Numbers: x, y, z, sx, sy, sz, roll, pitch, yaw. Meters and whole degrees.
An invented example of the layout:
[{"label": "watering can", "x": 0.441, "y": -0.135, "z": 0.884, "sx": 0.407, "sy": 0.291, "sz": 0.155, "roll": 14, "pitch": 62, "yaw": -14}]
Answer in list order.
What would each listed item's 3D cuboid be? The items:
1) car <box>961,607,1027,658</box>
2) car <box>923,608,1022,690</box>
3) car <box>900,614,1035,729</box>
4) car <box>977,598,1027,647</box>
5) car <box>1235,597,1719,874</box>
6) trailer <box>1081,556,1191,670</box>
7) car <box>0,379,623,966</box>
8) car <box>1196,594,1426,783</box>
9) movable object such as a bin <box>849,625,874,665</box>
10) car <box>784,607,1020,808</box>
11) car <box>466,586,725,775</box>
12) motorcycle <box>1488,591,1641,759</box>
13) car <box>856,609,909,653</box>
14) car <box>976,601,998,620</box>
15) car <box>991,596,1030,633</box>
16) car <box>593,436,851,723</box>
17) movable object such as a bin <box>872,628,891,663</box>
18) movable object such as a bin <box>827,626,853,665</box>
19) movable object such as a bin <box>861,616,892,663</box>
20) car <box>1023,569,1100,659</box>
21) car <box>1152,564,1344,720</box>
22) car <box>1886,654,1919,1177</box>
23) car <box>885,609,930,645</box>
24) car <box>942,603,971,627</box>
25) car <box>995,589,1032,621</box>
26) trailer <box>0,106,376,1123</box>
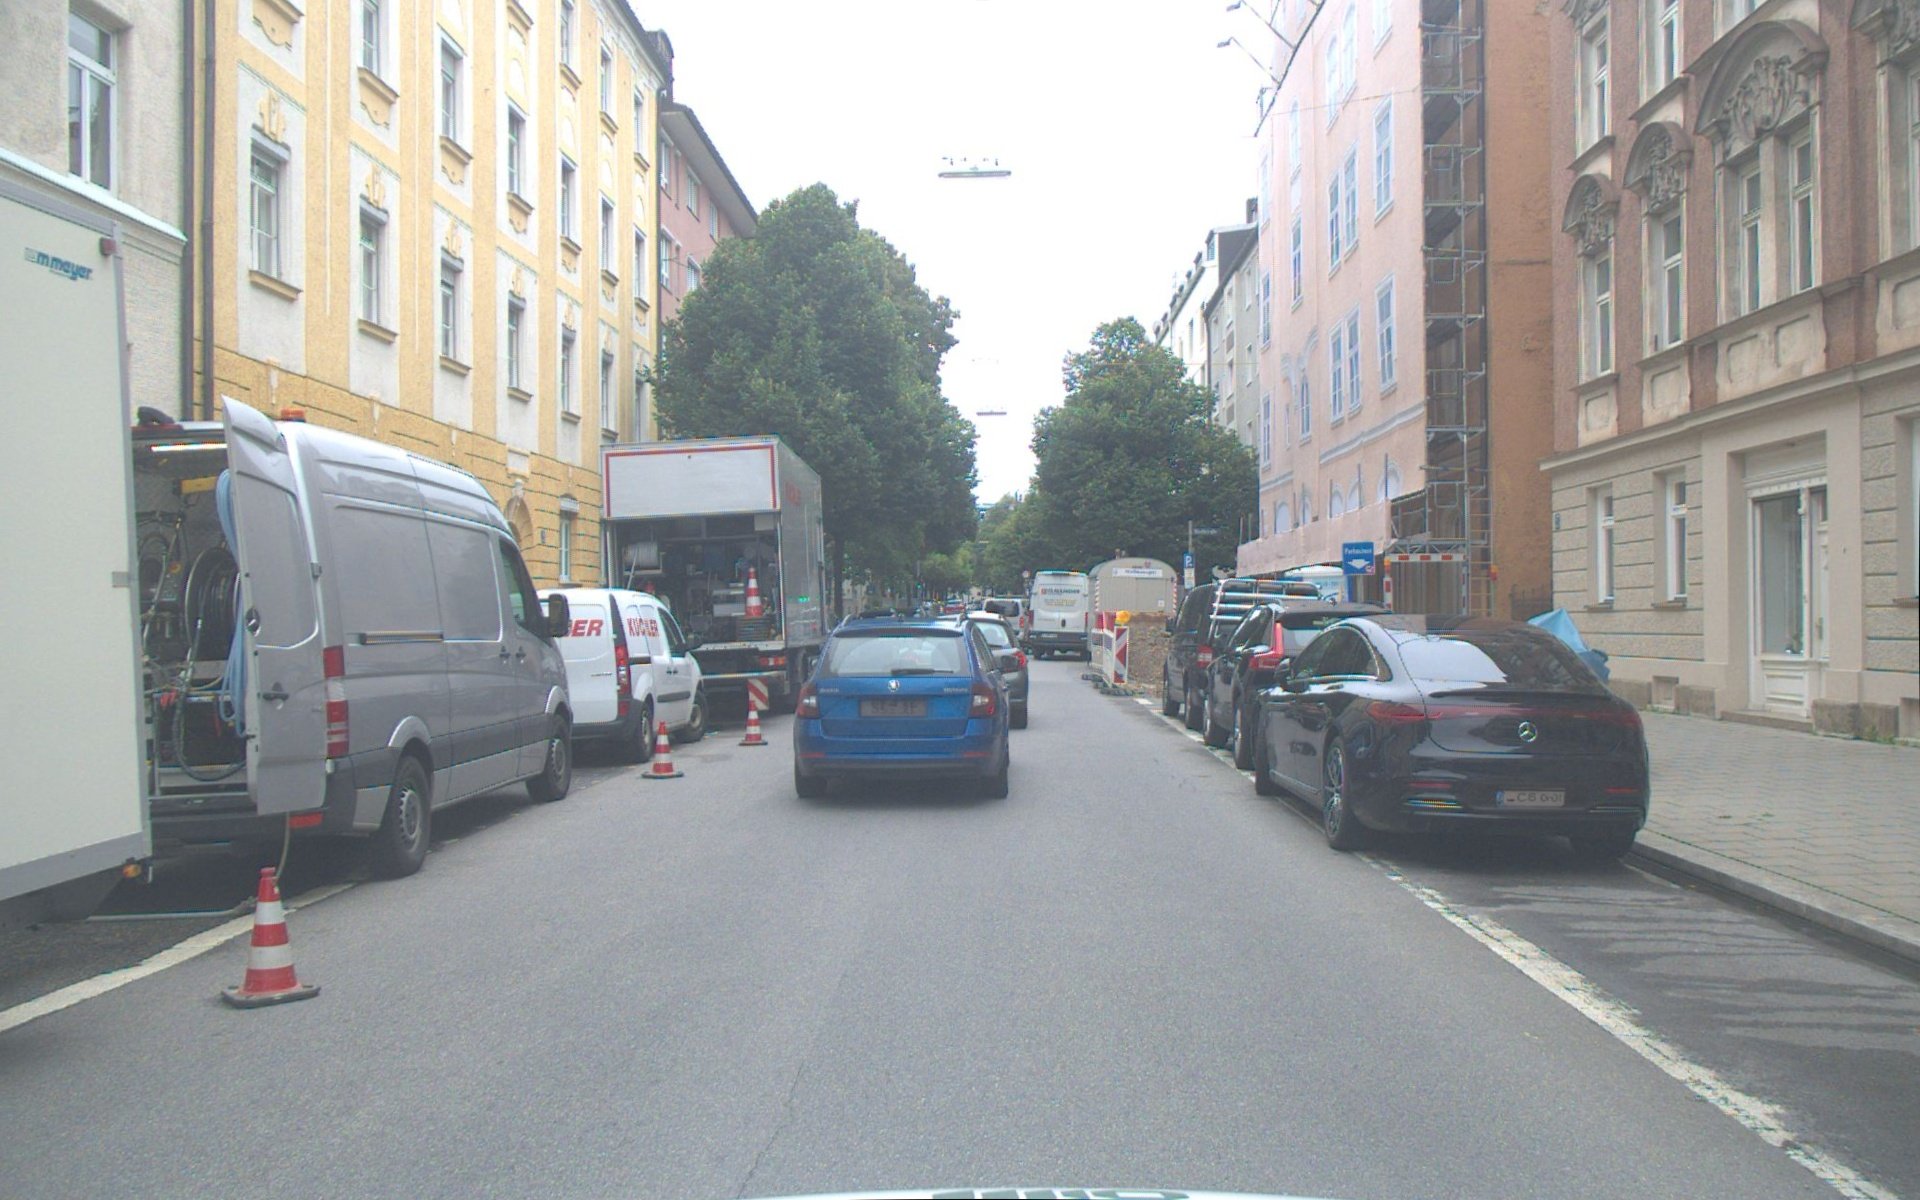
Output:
[{"label": "car", "x": 1.001, "y": 0.917, "z": 48.378, "sx": 1.829, "sy": 1.372, "sz": 4.348, "roll": 1, "pitch": 0, "yaw": 1}, {"label": "car", "x": 0.253, "y": 0.924, "z": 33.216, "sx": 1.829, "sy": 1.479, "sz": 4.347, "roll": 1, "pitch": 0, "yaw": 0}, {"label": "car", "x": 0.168, "y": 0.923, "z": 22.762, "sx": 1.705, "sy": 1.447, "sz": 3.665, "roll": 0, "pitch": -1, "yaw": 2}, {"label": "car", "x": 1.732, "y": 0.877, "z": 67.166, "sx": 1.828, "sy": 1.902, "sz": 4.349, "roll": 1, "pitch": 0, "yaw": 4}, {"label": "car", "x": 3.435, "y": 0.793, "z": 12.307, "sx": 1.891, "sy": 1.580, "sz": 5.637, "roll": 0, "pitch": 0, "yaw": 0}, {"label": "trailer", "x": 4.766, "y": 0.381, "z": 45.872, "sx": 2.450, "sy": 2.890, "sz": 6.902, "roll": 1, "pitch": -1, "yaw": 1}, {"label": "car", "x": -4.137, "y": 0.384, "z": 11.162, "sx": 2.014, "sy": 2.632, "sz": 6.877, "roll": -4, "pitch": 0, "yaw": 1}, {"label": "car", "x": 3.631, "y": 0.865, "z": 17.828, "sx": 1.658, "sy": 1.706, "sz": 4.409, "roll": 3, "pitch": -1, "yaw": 2}, {"label": "movable object such as a bin", "x": -3.036, "y": 1.382, "z": 50.978, "sx": 0.697, "sy": 1.168, "sz": 0.636, "roll": -2, "pitch": 0, "yaw": -2}, {"label": "car", "x": -0.397, "y": 0.825, "z": 14.514, "sx": 1.752, "sy": 1.486, "sz": 4.315, "roll": -1, "pitch": -1, "yaw": 1}, {"label": "car", "x": -3.932, "y": 0.820, "z": 18.578, "sx": 1.726, "sy": 1.810, "sz": 4.327, "roll": -2, "pitch": -1, "yaw": 2}, {"label": "motorcycle", "x": 5.821, "y": 0.691, "z": 16.058, "sx": 0.853, "sy": 1.531, "sz": 1.998, "roll": 0, "pitch": -1, "yaw": 3}, {"label": "car", "x": -2.766, "y": 1.086, "z": 59.714, "sx": 1.775, "sy": 1.504, "sz": 3.999, "roll": 0, "pitch": 0, "yaw": -1}, {"label": "car", "x": 2.544, "y": 0.993, "z": 154.601, "sx": 1.966, "sy": 1.682, "sz": 4.348, "roll": 1, "pitch": 0, "yaw": 2}, {"label": "car", "x": 2.439, "y": 0.677, "z": 80.067, "sx": 1.829, "sy": 1.682, "sz": 4.348, "roll": 1, "pitch": 0, "yaw": 1}, {"label": "car", "x": -3.544, "y": -0.228, "z": 26.932, "sx": 2.754, "sy": 3.884, "sz": 8.724, "roll": -1, "pitch": -1, "yaw": 1}, {"label": "movable object such as a bin", "x": -2.429, "y": 1.400, "z": 51.029, "sx": 0.535, "sy": 1.038, "sz": 0.636, "roll": -2, "pitch": 0, "yaw": -2}, {"label": "movable object such as a bin", "x": -3.690, "y": 1.408, "z": 50.933, "sx": 0.706, "sy": 1.158, "sz": 0.658, "roll": -2, "pitch": 0, "yaw": -2}, {"label": "movable object such as a bin", "x": -2.613, "y": 1.234, "z": 51.888, "sx": 0.899, "sy": 1.400, "sz": 1.079, "roll": -2, "pitch": 0, "yaw": -3}, {"label": "car", "x": 3.326, "y": 0.467, "z": 52.993, "sx": 2.068, "sy": 2.710, "sz": 5.504, "roll": 1, "pitch": -1, "yaw": 7}, {"label": "car", "x": 3.979, "y": 0.659, "z": 23.707, "sx": 2.039, "sy": 1.955, "sz": 5.141, "roll": 1, "pitch": -3, "yaw": 2}, {"label": "car", "x": 3.349, "y": 0.818, "z": 2.522, "sx": 1.540, "sy": 1.419, "sz": 4.182, "roll": -1, "pitch": -1, "yaw": 0}, {"label": "car", "x": -2.209, "y": 1.127, "z": 70.440, "sx": 1.775, "sy": 1.504, "sz": 3.999, "roll": 0, "pitch": 0, "yaw": -1}, {"label": "car", "x": -0.259, "y": 1.066, "z": 121.101, "sx": 1.966, "sy": 1.682, "sz": 4.348, "roll": 1, "pitch": 0, "yaw": 2}, {"label": "car", "x": 2.994, "y": 0.278, "z": 91.875, "sx": 1.966, "sy": 1.682, "sz": 4.348, "roll": 1, "pitch": 0, "yaw": 2}, {"label": "trailer", "x": -4.298, "y": 0.097, "z": 3.665, "sx": 2.745, "sy": 3.020, "sz": 7.603, "roll": -4, "pitch": 0, "yaw": 4}]
